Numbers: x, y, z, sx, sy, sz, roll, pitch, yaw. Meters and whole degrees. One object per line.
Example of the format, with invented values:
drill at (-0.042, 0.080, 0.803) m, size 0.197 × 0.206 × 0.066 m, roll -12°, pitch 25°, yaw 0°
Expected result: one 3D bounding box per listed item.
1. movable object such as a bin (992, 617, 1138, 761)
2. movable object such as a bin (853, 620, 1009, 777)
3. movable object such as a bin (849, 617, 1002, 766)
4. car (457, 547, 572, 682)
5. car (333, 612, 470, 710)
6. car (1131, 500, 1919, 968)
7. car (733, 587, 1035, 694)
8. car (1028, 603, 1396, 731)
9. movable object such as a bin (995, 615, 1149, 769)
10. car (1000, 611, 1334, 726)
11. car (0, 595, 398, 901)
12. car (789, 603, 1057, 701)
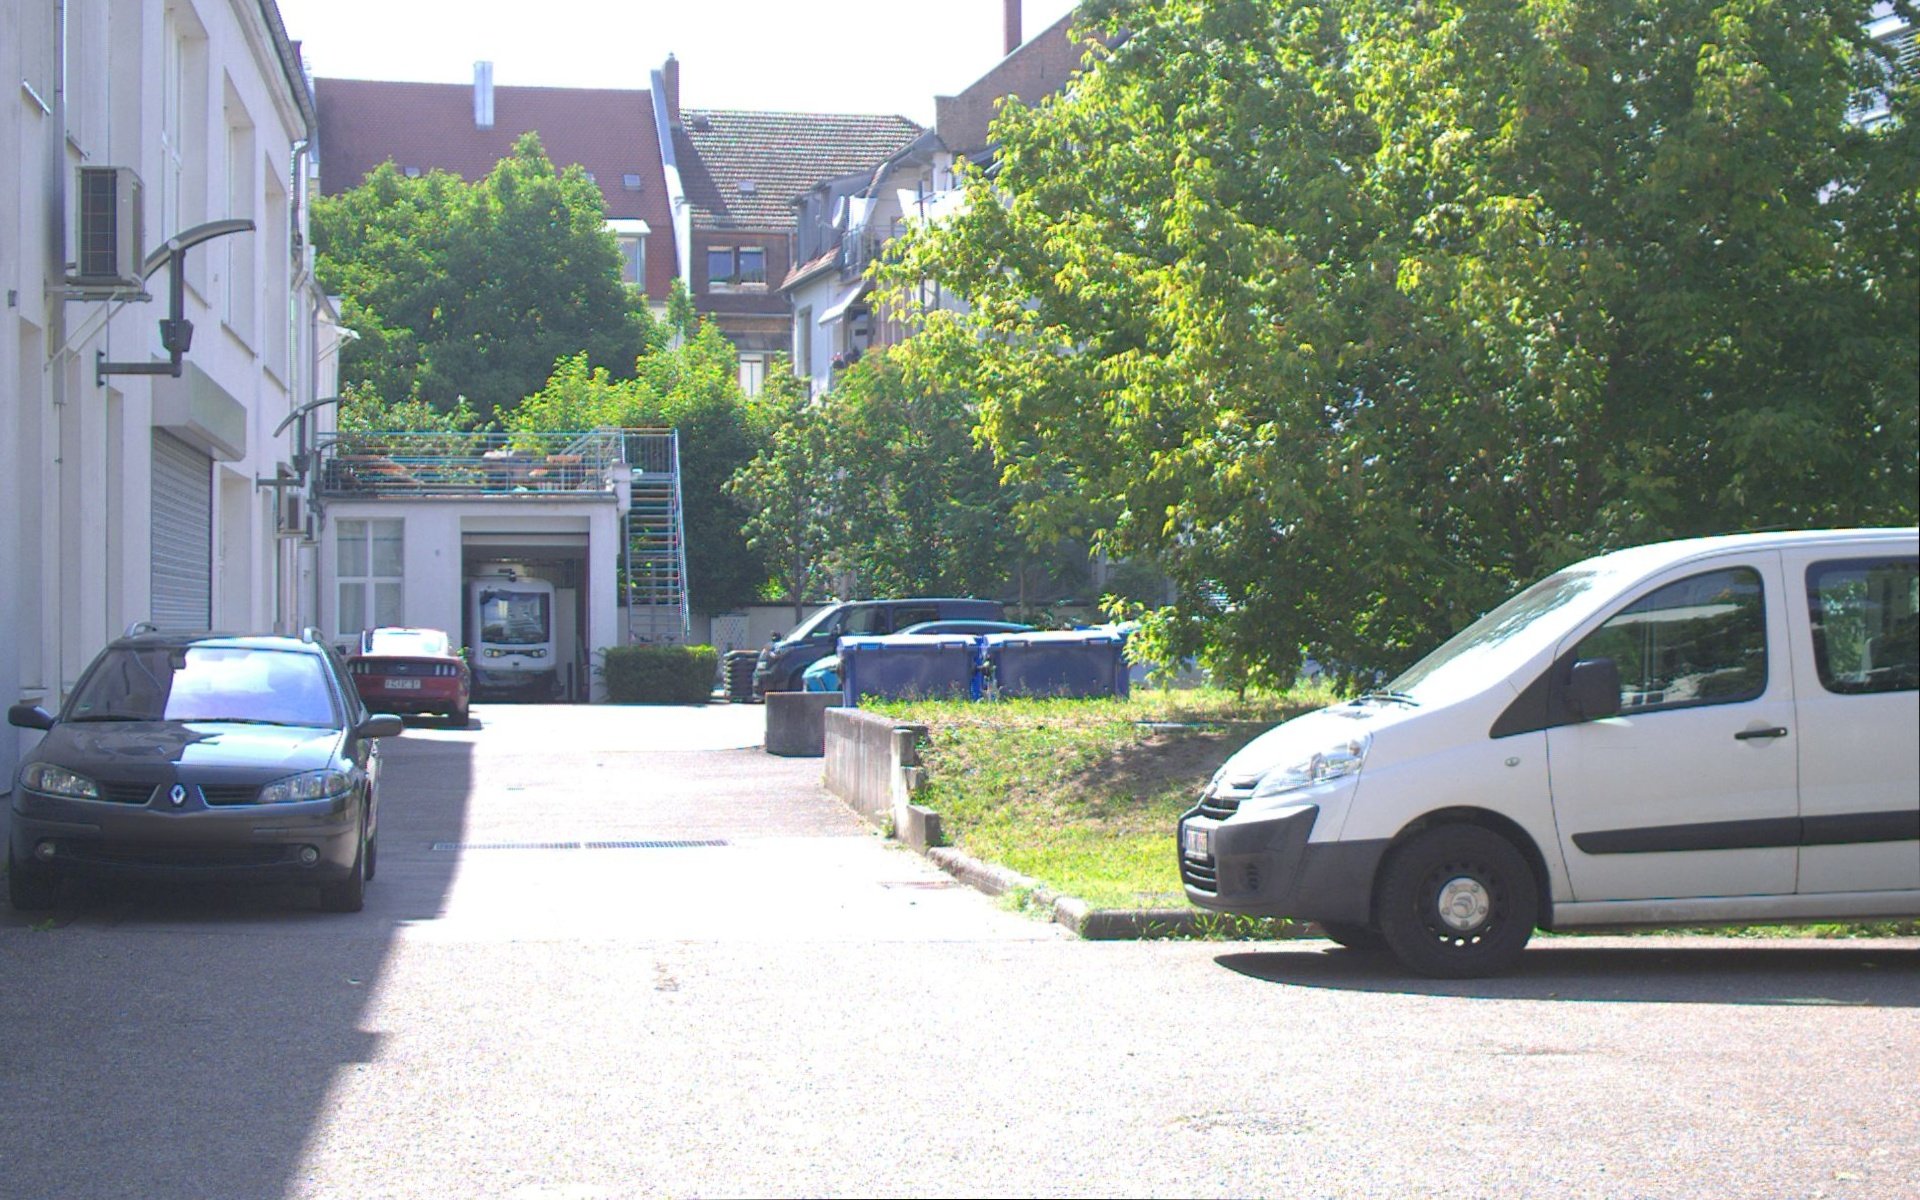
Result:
movable object such as a bin at (0.989, 0.834, 32.673) m, size 1.155 × 1.332 × 1.142 m, roll 0°, pitch 0°, yaw -10°
movable object such as a bin at (-0.269, 0.871, 30.555) m, size 1.247 × 1.315 × 1.142 m, roll -2°, pitch -1°, yaw -6°
movable object such as a bin at (-0.334, 0.843, 32.275) m, size 1.247 × 1.351 × 1.129 m, roll 0°, pitch 0°, yaw -10°
car at (-9.075, 0.321, 70.105) m, size 2.174 × 2.598 × 6.735 m, roll -1°, pitch -1°, yaw -7°
car at (-8.129, 0.863, 50.235) m, size 1.851 × 1.315 × 4.001 m, roll 2°, pitch 0°, yaw -8°
car at (3.414, 0.557, 15.408) m, size 5.023 × 1.926 × 2.000 m, roll 0°, pitch 0°, yaw -6°
car at (-1.365, 0.693, 61.429) m, size 4.950 × 1.761 × 2.097 m, roll -1°, pitch 1°, yaw -20°
car at (2.944, 0.774, 40.569) m, size 3.986 × 1.422 × 1.812 m, roll -1°, pitch 0°, yaw -10°
movable object such as a bin at (0.991, 0.810, 30.846) m, size 1.247 × 1.336 × 1.142 m, roll 0°, pitch 0°, yaw -5°
car at (2.619, 0.858, 43.951) m, size 3.986 × 1.389 × 1.689 m, roll -1°, pitch 0°, yaw -8°
car at (-4.064, 0.785, 18.798) m, size 1.836 × 1.437 × 4.430 m, roll 2°, pitch -2°, yaw -8°
car at (-0.647, 0.858, 58.241) m, size 4.228 × 1.527 × 2.001 m, roll -1°, pitch 1°, yaw -11°
